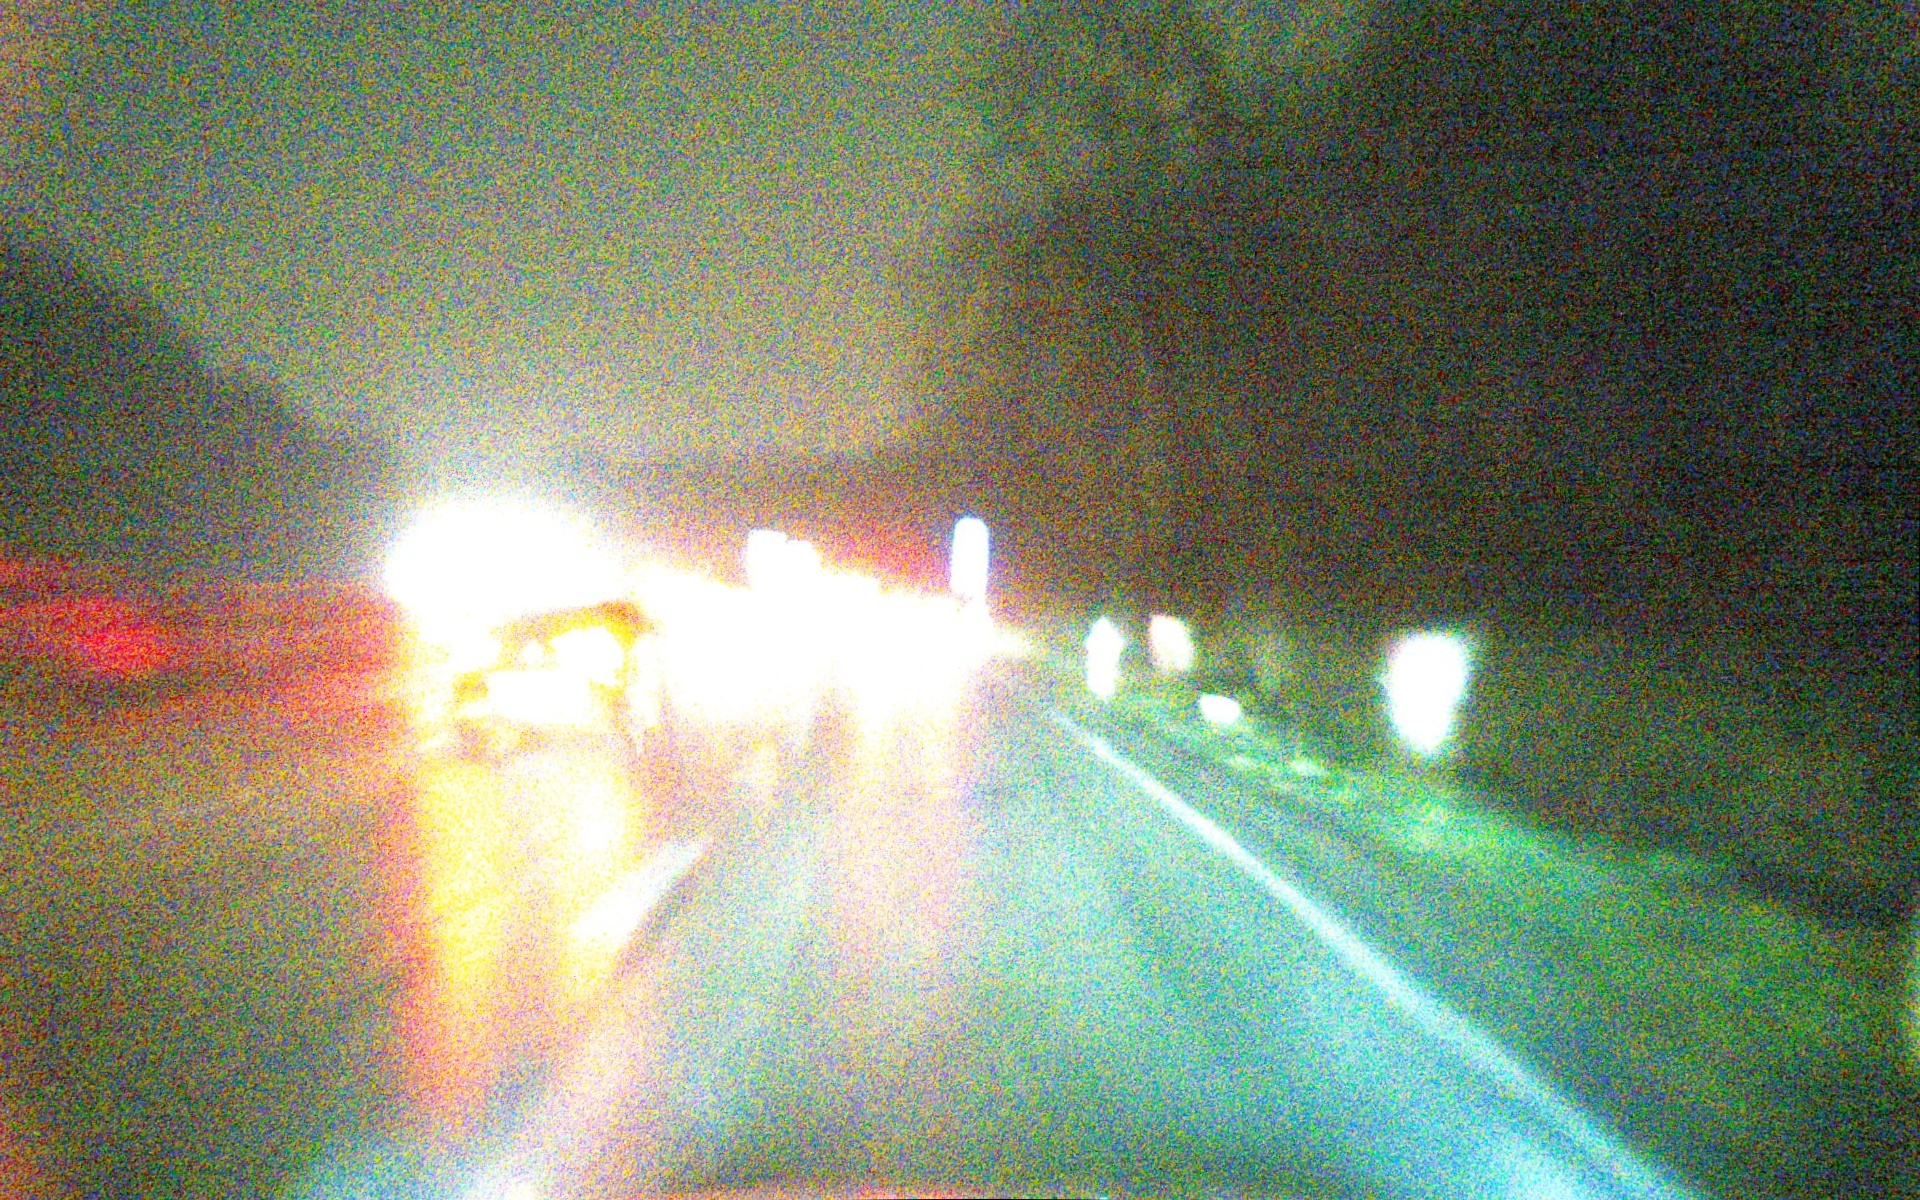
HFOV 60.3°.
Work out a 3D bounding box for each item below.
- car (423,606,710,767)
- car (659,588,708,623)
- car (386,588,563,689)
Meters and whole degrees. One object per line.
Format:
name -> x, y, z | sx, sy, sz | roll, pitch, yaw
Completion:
car -> -3.911, 0.818, 17.164 | 1.922, 1.405, 4.049 | 2, -1, 1
car -> -13.149, 0.271, 78.931 | 1.855, 1.578, 3.997 | 1, -1, -4
car -> -8.220, 0.603, 28.449 | 1.732, 1.543, 4.912 | 1, 0, -2
